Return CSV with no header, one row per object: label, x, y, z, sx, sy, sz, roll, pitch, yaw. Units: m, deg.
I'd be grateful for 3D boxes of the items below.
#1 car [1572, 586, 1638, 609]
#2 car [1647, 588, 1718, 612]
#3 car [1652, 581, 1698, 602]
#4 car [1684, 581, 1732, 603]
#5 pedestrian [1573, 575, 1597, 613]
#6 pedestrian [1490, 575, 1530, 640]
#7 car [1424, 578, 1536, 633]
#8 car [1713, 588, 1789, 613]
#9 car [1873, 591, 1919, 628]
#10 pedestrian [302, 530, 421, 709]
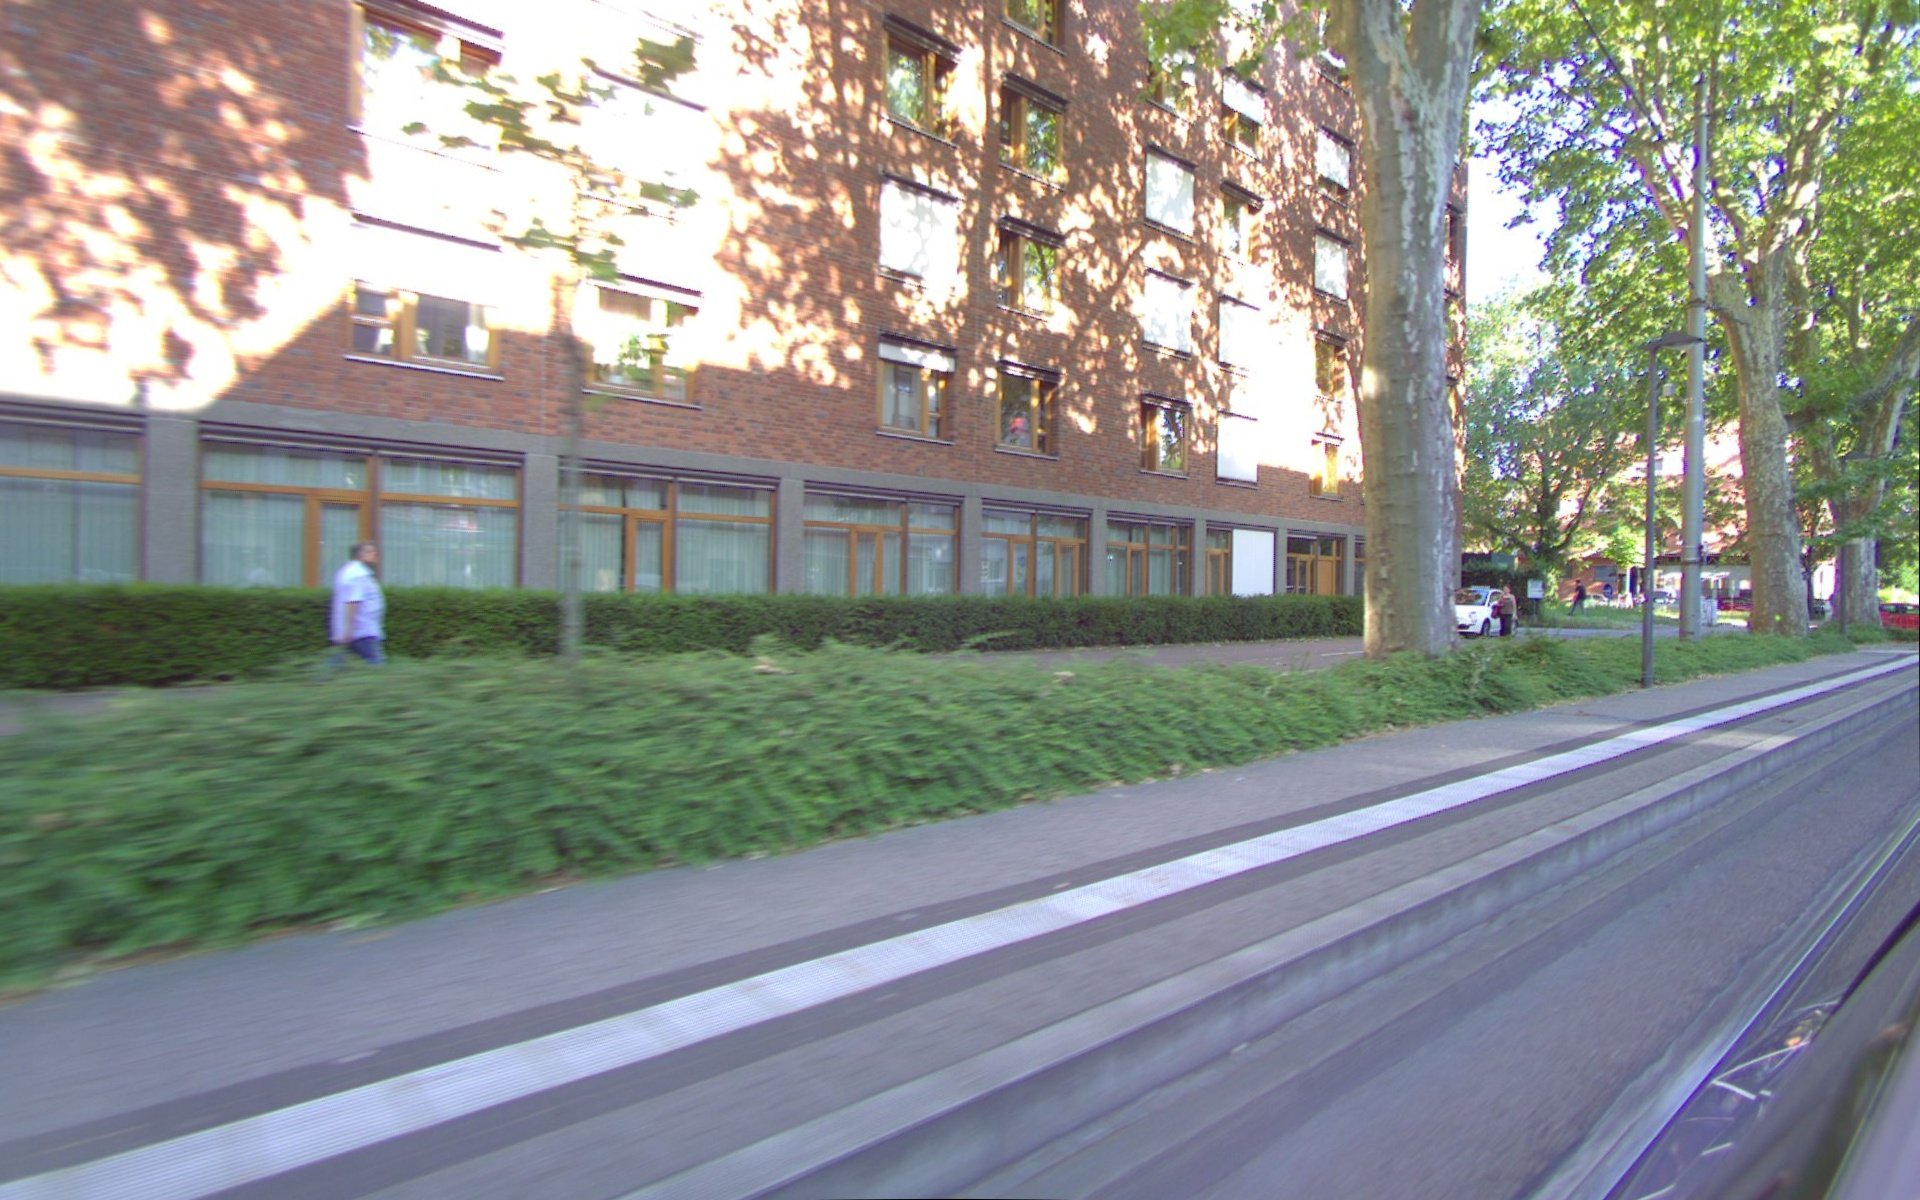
car,47.630,-0.196,74.800,1.964,1.549,3.674,0,2,-39
car,50.720,-0.018,71.119,1.964,1.549,3.674,0,2,-39
car,55.227,-0.665,78.159,3.611,1.549,1.999,0,1,-38
car,56.220,-0.617,76.068,3.611,1.549,1.999,0,1,-38
pedestrian,29.146,-0.277,47.220,0.689,1.735,0.691,1,1,-33
pedestrian,14.909,0.186,27.435,0.736,1.712,0.710,0,1,-42
car,15.818,0.146,30.709,3.892,1.527,1.657,0,1,-41
car,53.207,0.005,68.108,1.964,1.549,3.674,0,2,-39
car,42.550,0.446,44.072,1.964,1.549,3.872,0,2,-39
pedestrian,-5.985,0.174,10.115,0.901,1.680,0.768,0,1,-41
